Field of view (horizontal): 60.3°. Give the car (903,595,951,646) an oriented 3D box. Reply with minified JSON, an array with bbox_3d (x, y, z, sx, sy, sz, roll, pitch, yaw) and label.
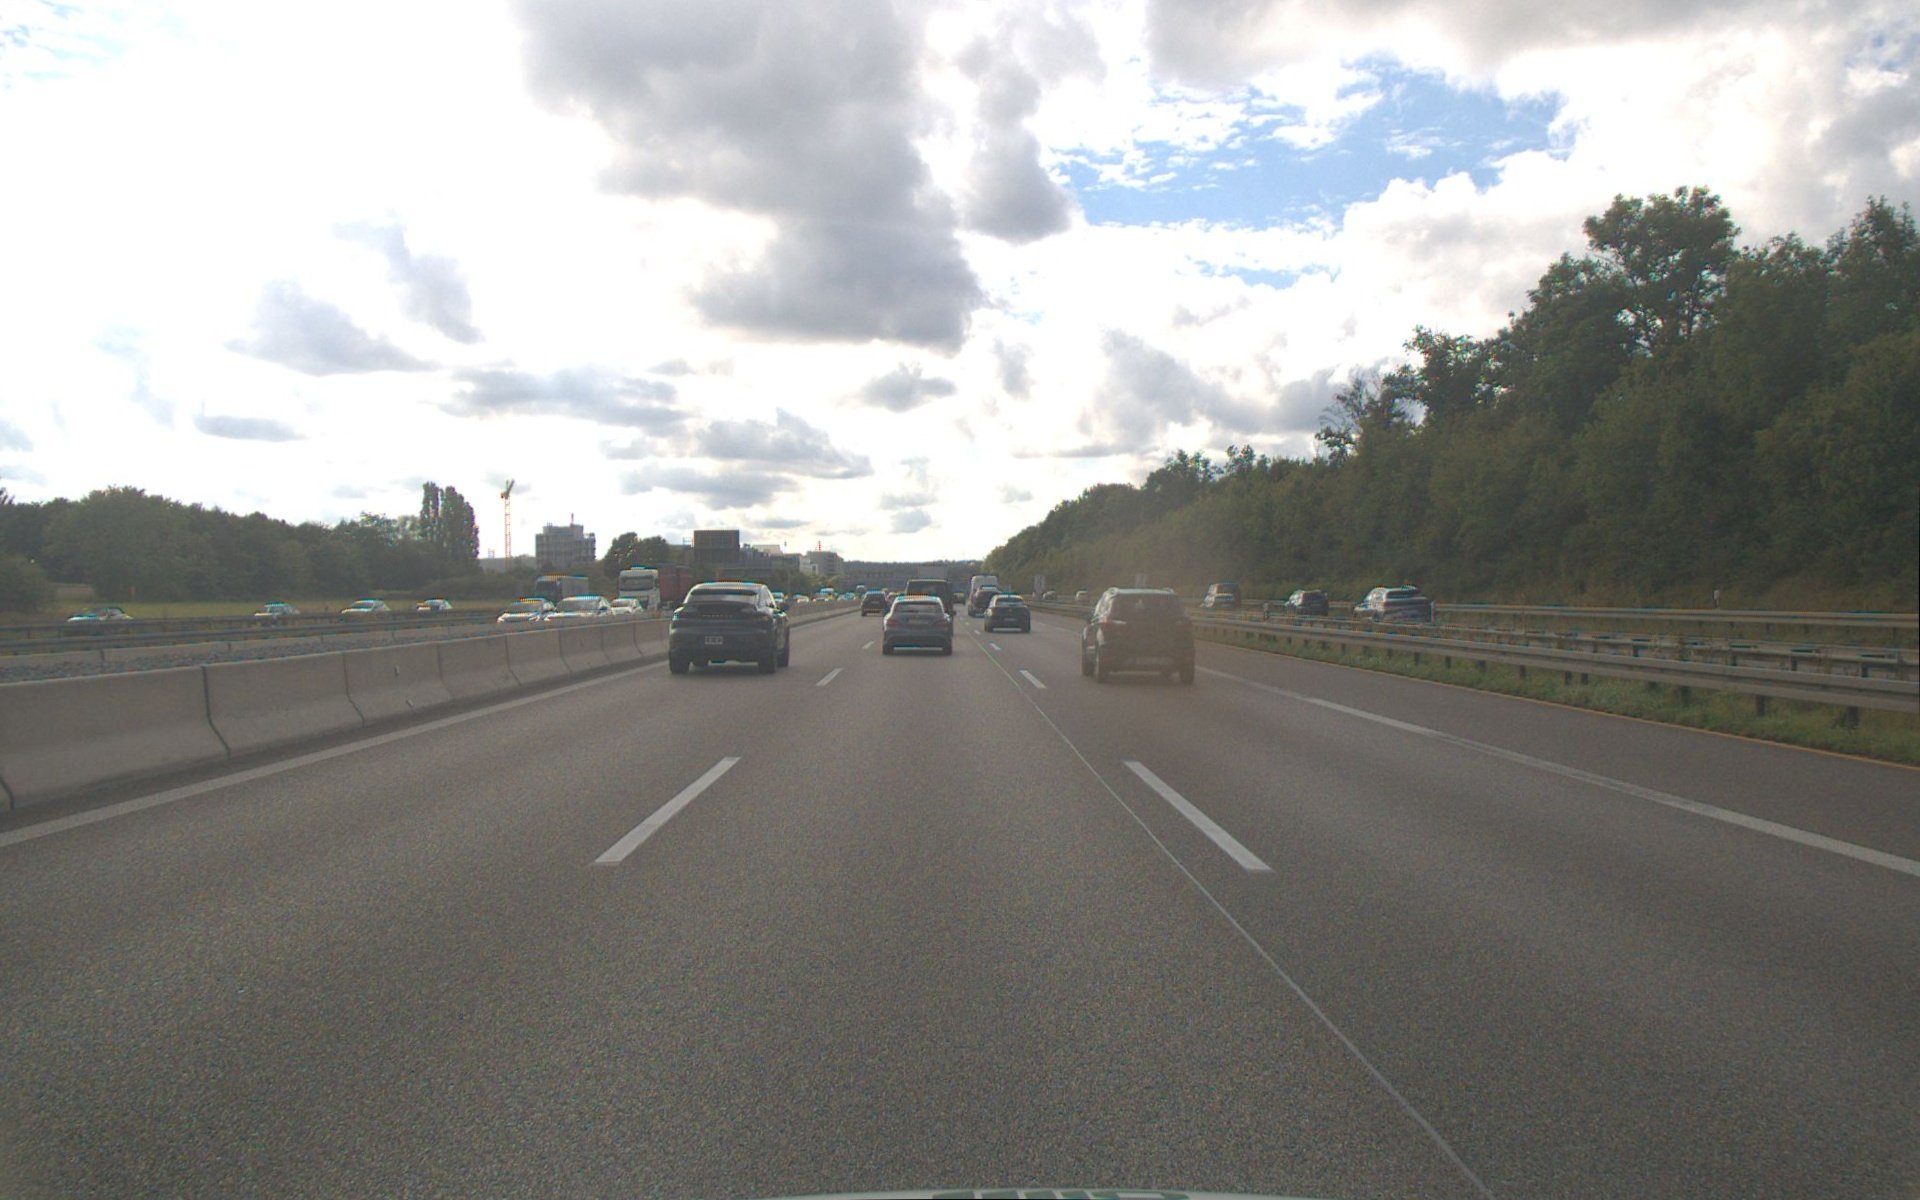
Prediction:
[{"bbox_3d":[-1.208,0.713,60.220,1.686,1.754,4.390,0,0,-1],"label":"car"}]

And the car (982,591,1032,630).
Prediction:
[{"bbox_3d":[1.853,0.394,66.725,1.795,1.547,4.224,0,0,-1],"label":"car"}]

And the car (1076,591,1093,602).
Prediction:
[{"bbox_3d":[16.644,-0.485,221.238,1.717,1.543,4.188,0,0,-2],"label":"car"}]

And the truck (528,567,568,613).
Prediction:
[{"bbox_3d":[-42.962,-1.019,172.676,2.984,4.740,5.071,0,0,0],"label":"truck"}]

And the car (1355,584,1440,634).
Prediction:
[{"bbox_3d":[15.799,0.305,59.909,1.809,1.679,4.305,-2,1,-1],"label":"car"}]

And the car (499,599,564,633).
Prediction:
[{"bbox_3d":[-17.305,0.637,66.970,1.548,1.306,4.241,-1,0,-1],"label":"car"}]

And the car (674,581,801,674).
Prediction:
[{"bbox_3d":[-4.271,0.477,32.578,1.873,1.664,5.499,0,0,-1],"label":"car"}]

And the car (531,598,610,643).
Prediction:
[{"bbox_3d":[-13.137,0.658,56.009,1.721,1.427,4.074,-1,0,-1],"label":"car"}]

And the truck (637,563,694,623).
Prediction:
[{"bbox_3d":[-22.313,-0.522,125.821,2.985,4.364,8.586,0,0,-2],"label":"truck"}]

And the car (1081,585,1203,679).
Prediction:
[{"bbox_3d":[3.255,0.531,30.251,1.663,1.592,4.112,0,0,-2],"label":"car"}]

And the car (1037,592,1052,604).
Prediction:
[{"bbox_3d":[11.845,-0.309,231.856,1.694,1.560,4.451,-1,0,-1],"label":"car"}]

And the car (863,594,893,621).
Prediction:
[{"bbox_3d":[-5.379,0.458,108.715,1.835,1.727,4.071,0,0,-1],"label":"car"}]

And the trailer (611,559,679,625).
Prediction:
[{"bbox_3d":[-22.043,-0.563,116.192,2.985,4.364,10.652,0,0,-2],"label":"trailer"}]

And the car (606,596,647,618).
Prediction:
[{"bbox_3d":[-19.246,0.384,95.668,1.622,1.213,4.129,-1,0,-1],"label":"car"}]

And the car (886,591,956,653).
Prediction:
[{"bbox_3d":[-0.997,0.523,42.182,1.686,1.505,4.390,0,0,-1],"label":"car"}]

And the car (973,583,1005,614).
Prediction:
[{"bbox_3d":[1.856,-0.131,106.033,1.874,1.952,4.029,0,0,-1],"label":"car"}]

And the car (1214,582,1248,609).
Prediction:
[{"bbox_3d":[18.702,-0.286,114.156,1.563,1.835,3.823,0,0,-3],"label":"car"}]

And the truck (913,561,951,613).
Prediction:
[{"bbox_3d":[-2.543,-1.170,148.392,3.197,4.451,11.023,1,0,-1],"label":"truck"}]

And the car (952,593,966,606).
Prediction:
[{"bbox_3d":[-0.126,-0.080,213.239,1.716,1.725,4.189,0,0,-1],"label":"car"}]

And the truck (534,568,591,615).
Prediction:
[{"bbox_3d":[-43.035,-0.923,179.494,3.011,4.887,14.124,0,0,-1],"label":"truck"}]

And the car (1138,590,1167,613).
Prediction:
[{"bbox_3d":[14.708,0.137,126.554,1.716,1.725,4.189,0,0,-1],"label":"car"}]

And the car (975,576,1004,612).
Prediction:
[{"bbox_3d":[2.007,-0.387,112.625,1.835,2.399,4.281,0,0,-1],"label":"car"}]

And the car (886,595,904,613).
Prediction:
[{"bbox_3d":[-6.053,0.369,153.577,1.663,1.639,4.112,0,0,-2],"label":"car"}]

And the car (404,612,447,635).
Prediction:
[{"bbox_3d":[-37.876,1.683,117.231,1.694,1.560,4.451,0,0,-1],"label":"car"}]

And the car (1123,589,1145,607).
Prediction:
[{"bbox_3d":[17.066,-0.189,162.388,1.716,1.725,4.189,0,0,-1],"label":"car"}]

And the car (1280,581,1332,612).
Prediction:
[{"bbox_3d":[18.740,-0.196,89.703,1.694,1.573,4.304,-2,1,-3],"label":"car"}]

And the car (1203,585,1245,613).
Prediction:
[{"bbox_3d":[15.084,-0.058,94.744,1.563,1.573,4.188,0,0,-3],"label":"car"}]
